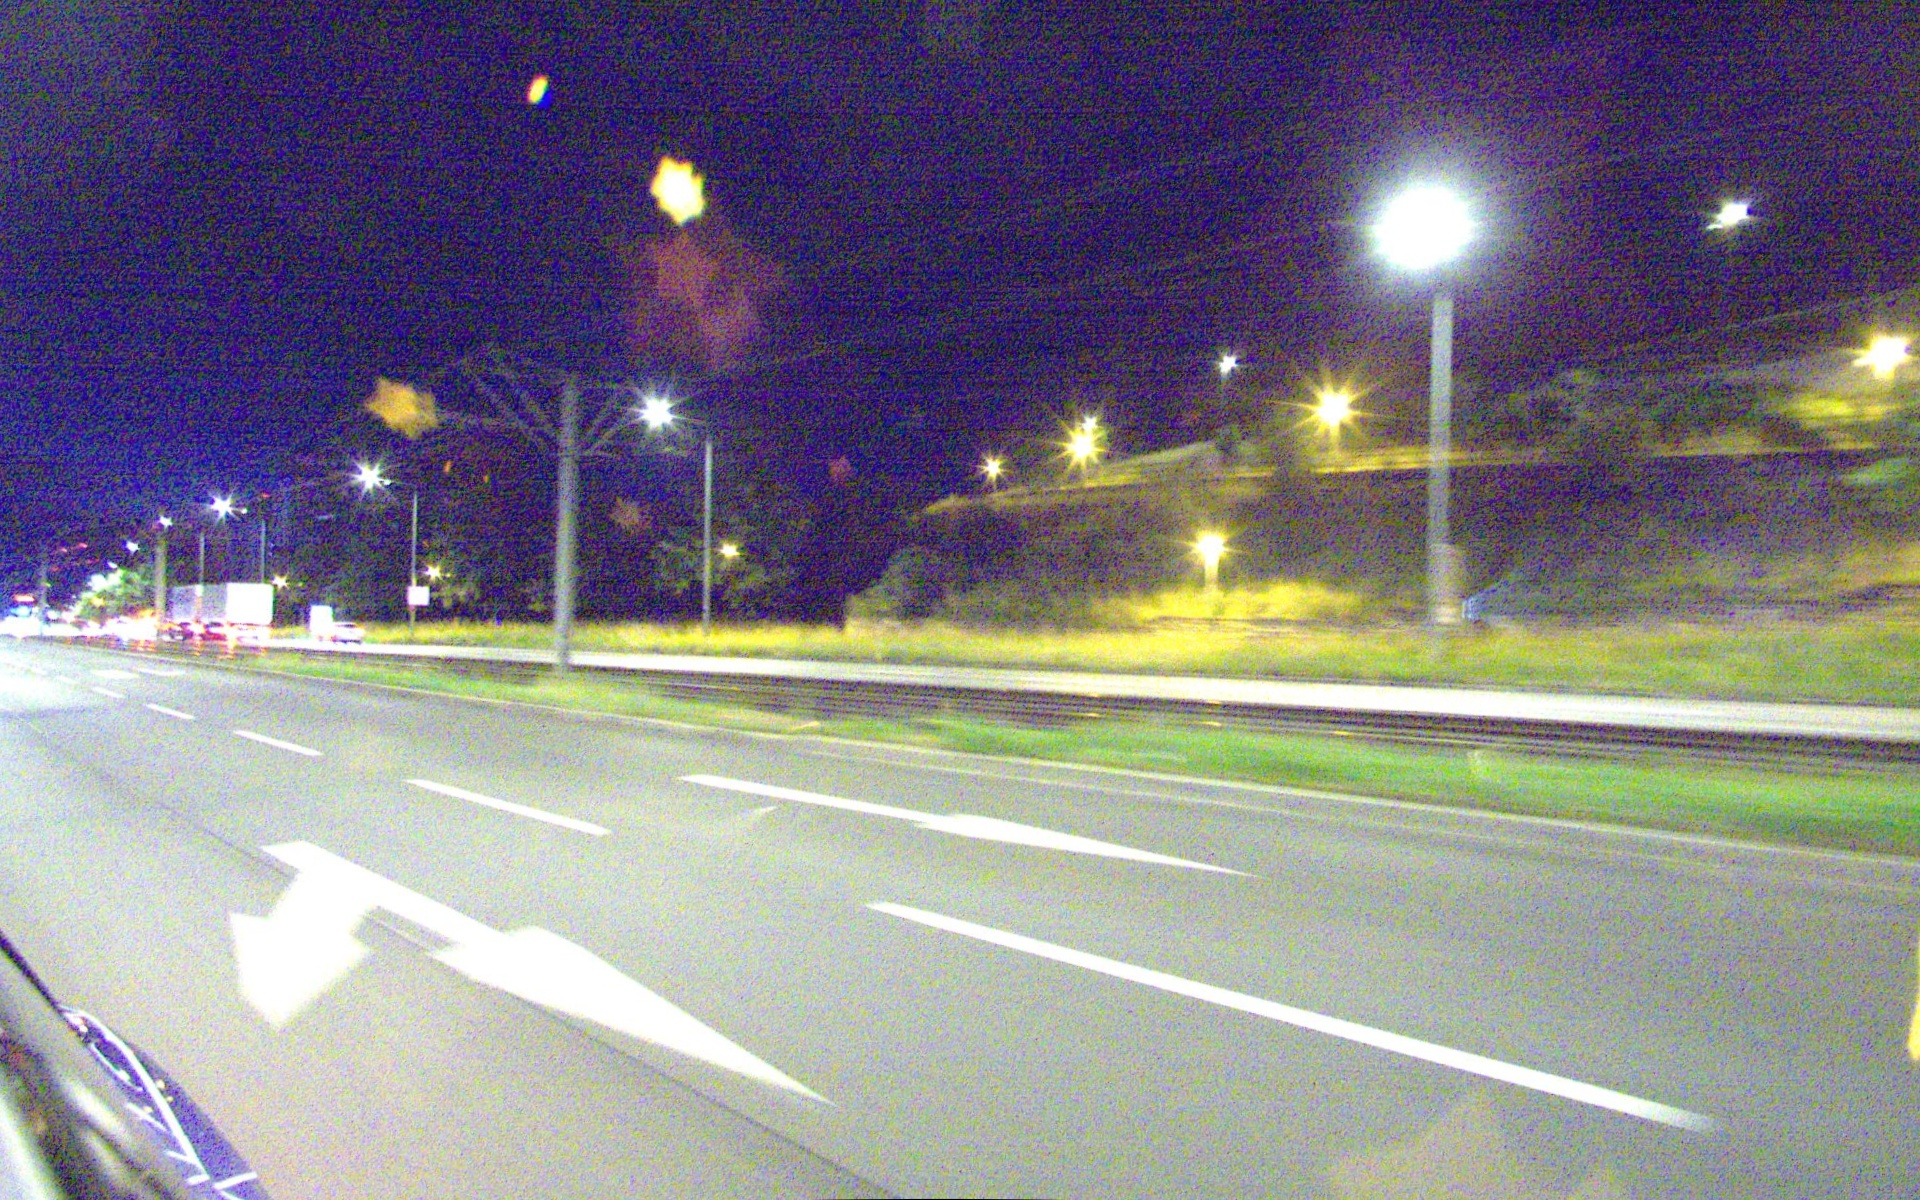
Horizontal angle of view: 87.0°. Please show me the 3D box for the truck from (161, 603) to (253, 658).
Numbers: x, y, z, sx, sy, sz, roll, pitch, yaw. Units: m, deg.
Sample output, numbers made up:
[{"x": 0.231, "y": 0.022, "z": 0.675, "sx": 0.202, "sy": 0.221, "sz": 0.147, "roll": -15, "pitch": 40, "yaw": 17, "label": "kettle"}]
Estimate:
[{"x": -59.188, "y": 2.281, "z": 79.406, "sx": 10.415, "sy": 3.984, "sz": 3.643, "roll": -1, "pitch": 0, "yaw": 41, "label": "truck"}]

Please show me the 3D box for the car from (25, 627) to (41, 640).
[{"x": -148.936, "y": 5.353, "z": 162.603, "sx": 1.769, "sy": 1.921, "sz": 4.004, "roll": -1, "pitch": 0, "yaw": -43, "label": "car"}]

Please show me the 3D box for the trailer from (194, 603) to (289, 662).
[{"x": -52.038, "y": 2.266, "z": 73.197, "sx": 8.390, "sy": 4.019, "sz": 3.658, "roll": -1, "pitch": 0, "yaw": 41, "label": "trailer"}]

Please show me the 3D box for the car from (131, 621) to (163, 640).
[{"x": -75.189, "y": 2.814, "z": 93.582, "sx": 3.961, "sy": 1.637, "sz": 1.707, "roll": -1, "pitch": 0, "yaw": 43, "label": "car"}]

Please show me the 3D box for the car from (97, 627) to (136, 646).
[{"x": -72.083, "y": 3.115, "z": 86.477, "sx": 4.081, "sy": 1.510, "sz": 1.786, "roll": -1, "pitch": -1, "yaw": 39, "label": "car"}]

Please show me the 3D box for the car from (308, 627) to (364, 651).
[{"x": -41.384, "y": 2.592, "z": 67.105, "sx": 4.201, "sy": 1.492, "sz": 1.965, "roll": -1, "pitch": -3, "yaw": 41, "label": "car"}]
